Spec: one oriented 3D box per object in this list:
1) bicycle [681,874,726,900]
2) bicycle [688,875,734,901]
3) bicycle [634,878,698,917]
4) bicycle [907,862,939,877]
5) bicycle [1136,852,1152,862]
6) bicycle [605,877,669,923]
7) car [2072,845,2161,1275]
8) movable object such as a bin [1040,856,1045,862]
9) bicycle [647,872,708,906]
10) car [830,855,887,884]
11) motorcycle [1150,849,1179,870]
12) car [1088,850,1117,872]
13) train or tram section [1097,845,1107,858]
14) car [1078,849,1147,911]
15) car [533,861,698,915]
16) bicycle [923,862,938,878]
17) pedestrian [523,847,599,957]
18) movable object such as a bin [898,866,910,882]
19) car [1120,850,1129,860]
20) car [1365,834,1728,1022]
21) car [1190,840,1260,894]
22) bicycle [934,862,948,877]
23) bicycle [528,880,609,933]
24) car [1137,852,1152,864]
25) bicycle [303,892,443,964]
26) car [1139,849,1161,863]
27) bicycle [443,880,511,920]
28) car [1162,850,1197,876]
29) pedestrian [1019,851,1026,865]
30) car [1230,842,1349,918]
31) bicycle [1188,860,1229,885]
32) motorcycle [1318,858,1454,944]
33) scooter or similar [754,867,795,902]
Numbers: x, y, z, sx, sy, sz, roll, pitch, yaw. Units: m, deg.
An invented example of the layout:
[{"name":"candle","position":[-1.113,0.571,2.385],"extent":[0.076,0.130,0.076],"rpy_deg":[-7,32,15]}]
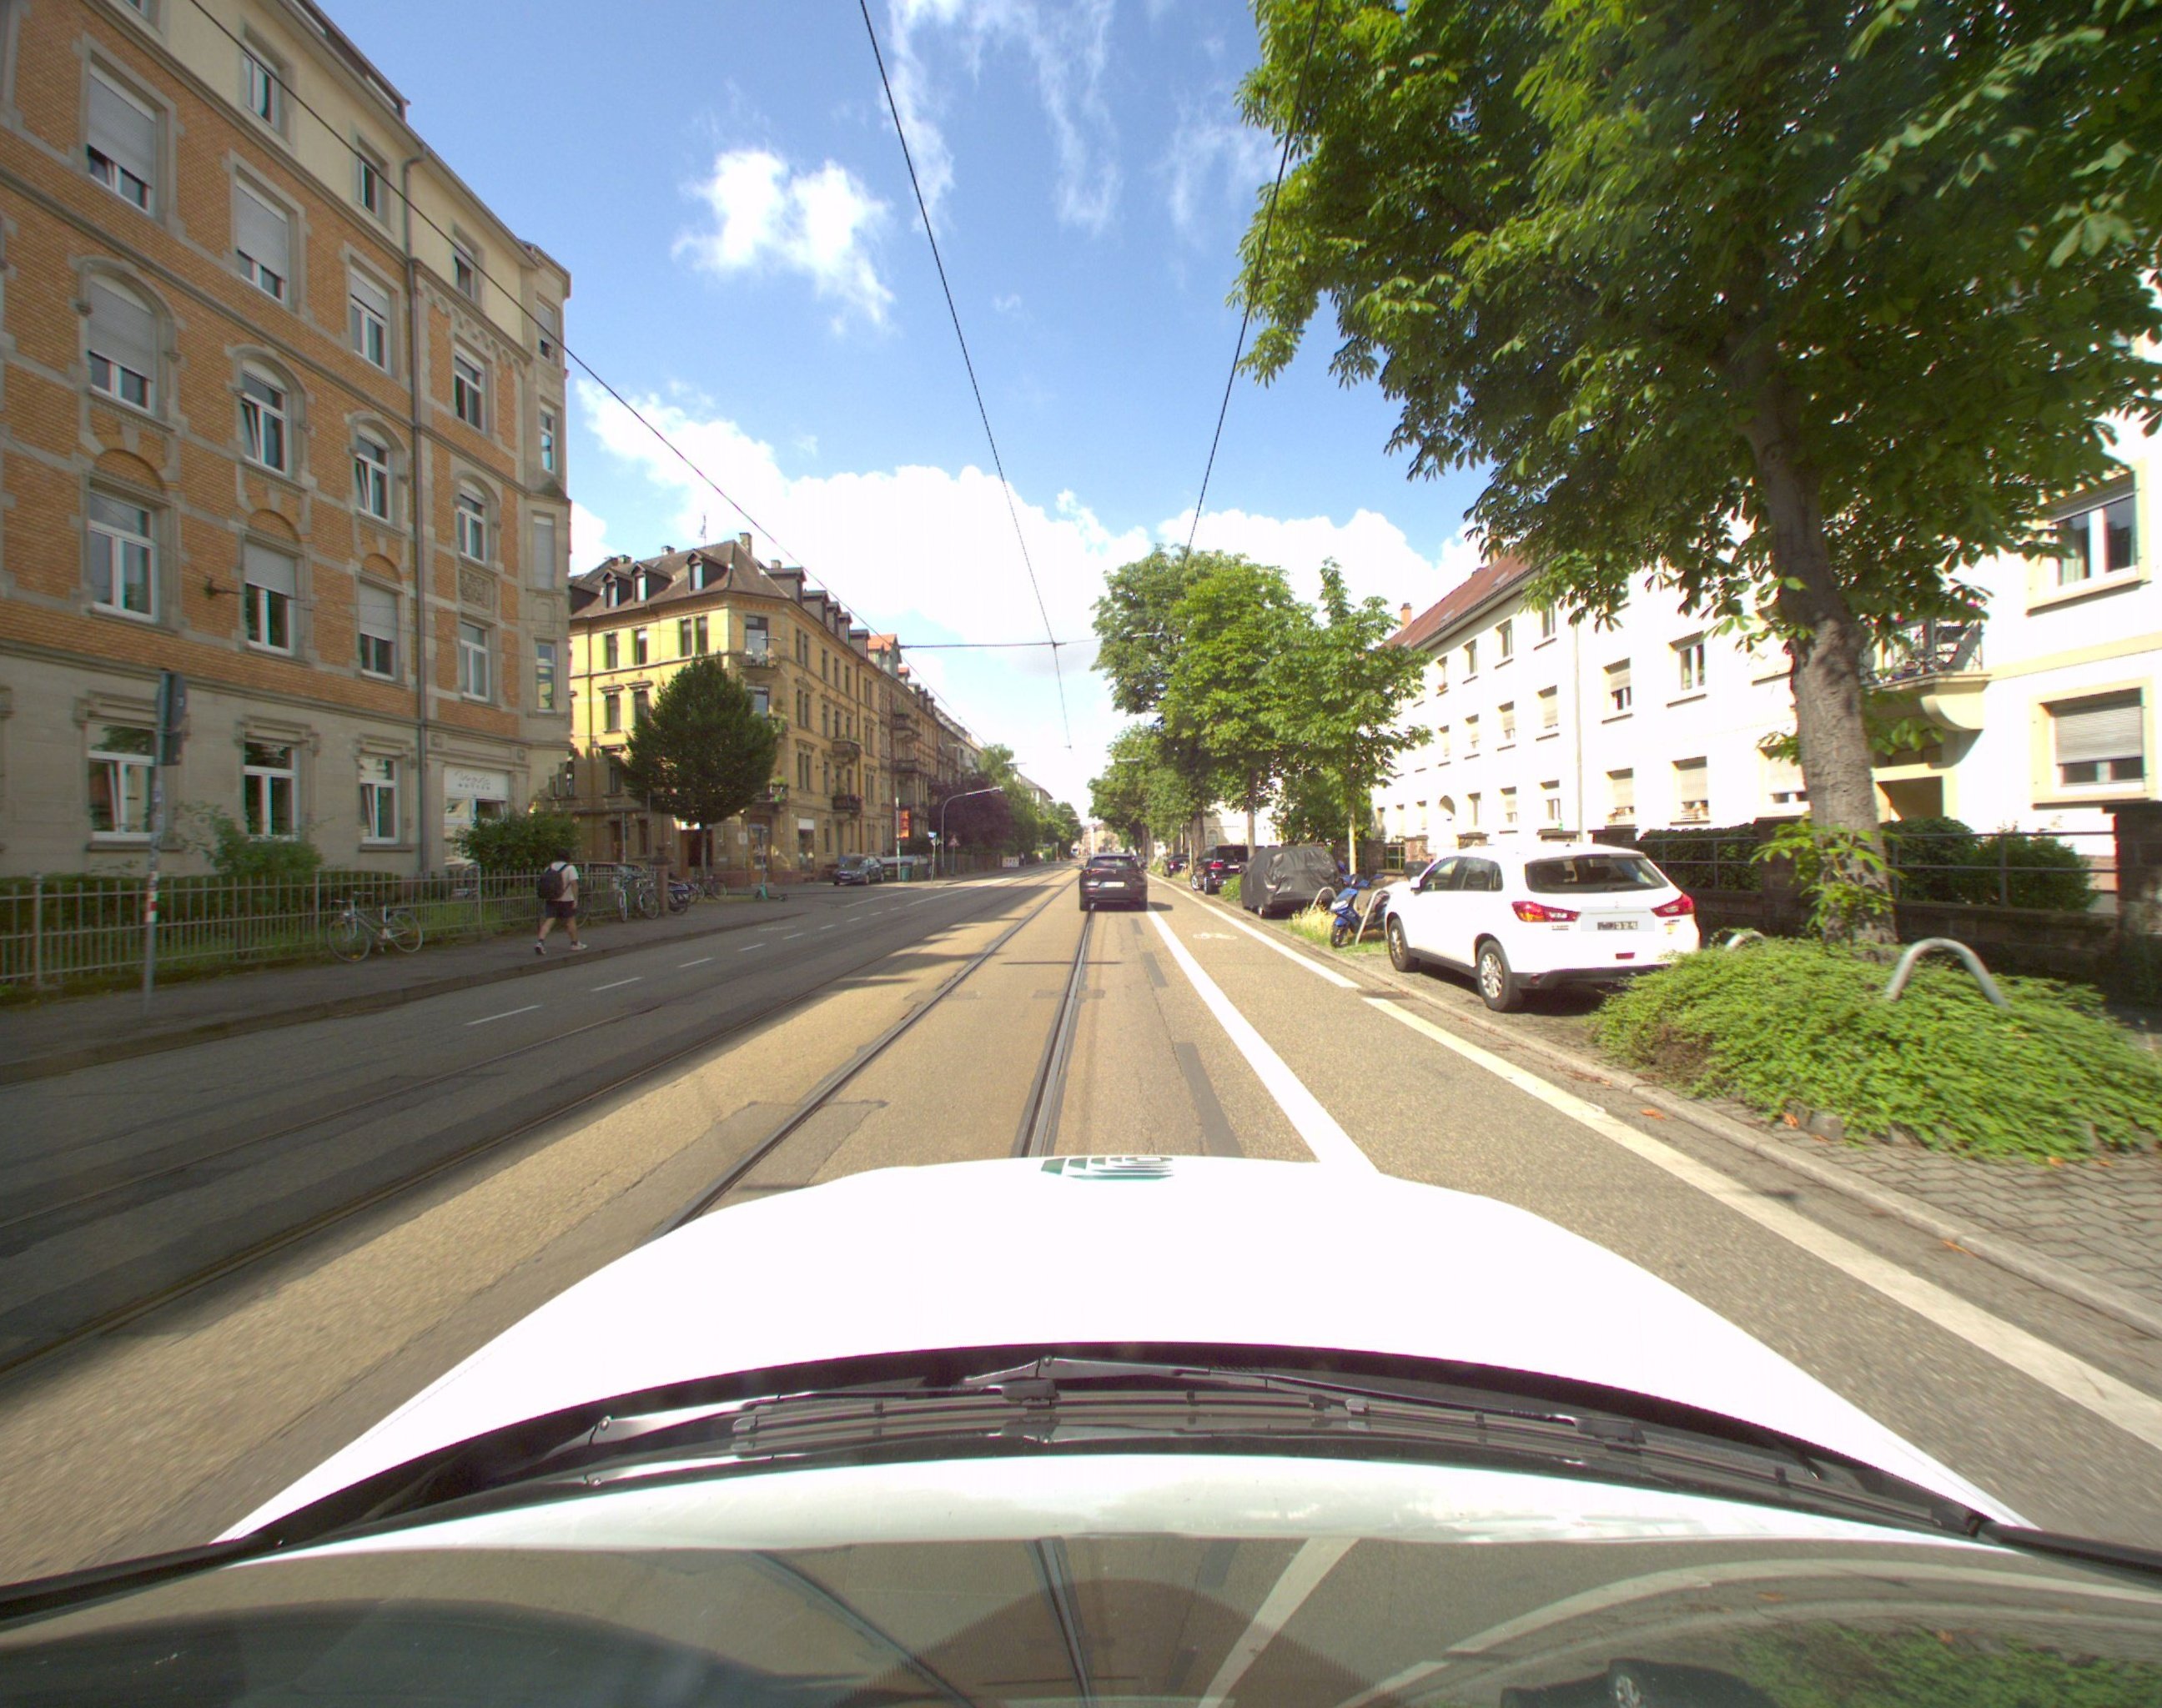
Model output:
[{"name":"bicycle","position":[-13.805,1.187,29.818],"extent":[0.519,0.837,1.705],"rpy_deg":[-1,1,15]},{"name":"bicycle","position":[-13.284,1.212,29.307],"extent":[0.519,0.837,1.705],"rpy_deg":[-1,1,15]},{"name":"bicycle","position":[-10.912,1.142,21.413],"extent":[1.447,0.976,0.404],"rpy_deg":[-2,0,1]},{"name":"bicycle","position":[-10.446,1.030,53.807],"extent":[1.957,0.946,0.531],"rpy_deg":[-2,0,-4]},{"name":"bicycle","position":[7.829,0.366,100.985],"extent":[1.923,1.176,0.515],"rpy_deg":[-2,-1,13]},{"name":"bicycle","position":[-10.683,1.082,19.647],"extent":[0.420,0.976,1.950],"rpy_deg":[-1,0,1]},{"name":"car","position":[4.607,0.724,0.980],"extent":[1.655,1.521,4.288],"rpy_deg":[-1,0,1]},{"name":"movable object such as a bin","position":[-6.465,0.756,136.203],"extent":[0.742,0.988,1.114],"rpy_deg":[1,0,1]},{"name":"bicycle","position":[-13.521,1.160,27.319],"extent":[1.750,1.063,0.524],"rpy_deg":[-1,1,-4]},{"name":"car","position":[-12.208,0.806,45.005],"extent":[1.679,1.459,4.766],"rpy_deg":[-2,0,2]},{"name":"motorcycle","position":[6.661,0.450,65.322],"extent":[2.357,1.597,0.683],"rpy_deg":[1,1,40]},{"name":"car","position":[1.571,0.486,59.488],"extent":[1.986,1.529,4.001],"rpy_deg":[1,0,1]},{"name":"train or tram section","position":[6.533,-0.742,256.234],"extent":[2.563,3.772,13.024],"rpy_deg":[-1,0,0]},{"name":"car","position":[0.848,0.659,22.375],"extent":[1.714,1.526,3.590],"rpy_deg":[-1,0,1]},{"name":"car","position":[-12.996,0.936,22.858],"extent":[3.585,1.403,1.790],"rpy_deg":[-1,0,5]},{"name":"bicycle","position":[-9.484,1.011,51.399],"extent":[0.528,0.946,1.968],"rpy_deg":[-2,0,2]},{"name":"pedestrian","position":[-8.744,0.774,13.733],"extent":[0.531,1.760,1.106],"rpy_deg":[1,0,1]},{"name":"movable object such as a bin","position":[-10.229,1.152,47.166],"extent":[0.523,0.906,0.636],"rpy_deg":[-2,0,0]},{"name":"car","position":[8.741,0.131,163.886],"extent":[1.714,1.968,4.210],"rpy_deg":[-1,0,2]},{"name":"car","position":[4.875,0.649,9.364],"extent":[1.736,1.581,4.249],"rpy_deg":[-3,0,1]},{"name":"car","position":[5.175,0.419,29.854],"extent":[1.820,1.782,4.735],"rpy_deg":[-2,0,1]},{"name":"bicycle","position":[-9.462,1.030,55.178],"extent":[0.528,0.946,1.968],"rpy_deg":[-2,0,2]},{"name":"bicycle","position":[-10.721,1.065,17.121],"extent":[0.420,0.976,1.950],"rpy_deg":[-1,0,1]},{"name":"car","position":[8.162,0.515,104.737],"extent":[1.659,1.430,3.768],"rpy_deg":[-3,0,2]},{"name":"bicycle","position":[-10.923,1.105,12.655],"extent":[0.420,0.932,1.950],"rpy_deg":[-1,0,1]},{"name":"car","position":[7.429,0.232,88.034],"extent":[1.841,1.409,4.392],"rpy_deg":[-3,0,-1]},{"name":"bicycle","position":[-15.628,1.179,21.088],"extent":[1.447,0.976,0.404],"rpy_deg":[-2,0,1]},{"name":"car","position":[5.963,0.519,49.587],"extent":[1.700,1.479,4.198],"rpy_deg":[1,0,2]},{"name":"pedestrian","position":[-7.299,0.465,101.461],"extent":[0.820,1.706,0.891],"rpy_deg":[-1,0,-2]},{"name":"car","position":[5.046,0.563,20.345],"extent":[1.856,1.653,4.639],"rpy_deg":[-1,0,1]},{"name":"bicycle","position":[5.500,0.812,35.192],"extent":[1.702,1.007,0.638],"rpy_deg":[-2,0,1]},{"name":"motorcycle","position":[5.095,0.766,13.673],"extent":[2.002,1.337,0.747],"rpy_deg":[-1,0,-3]},{"name":"scooter or similar","position":[-11.277,1.098,29.932],"extent":[1.369,1.235,0.400],"rpy_deg":[0,0,-27]}]
